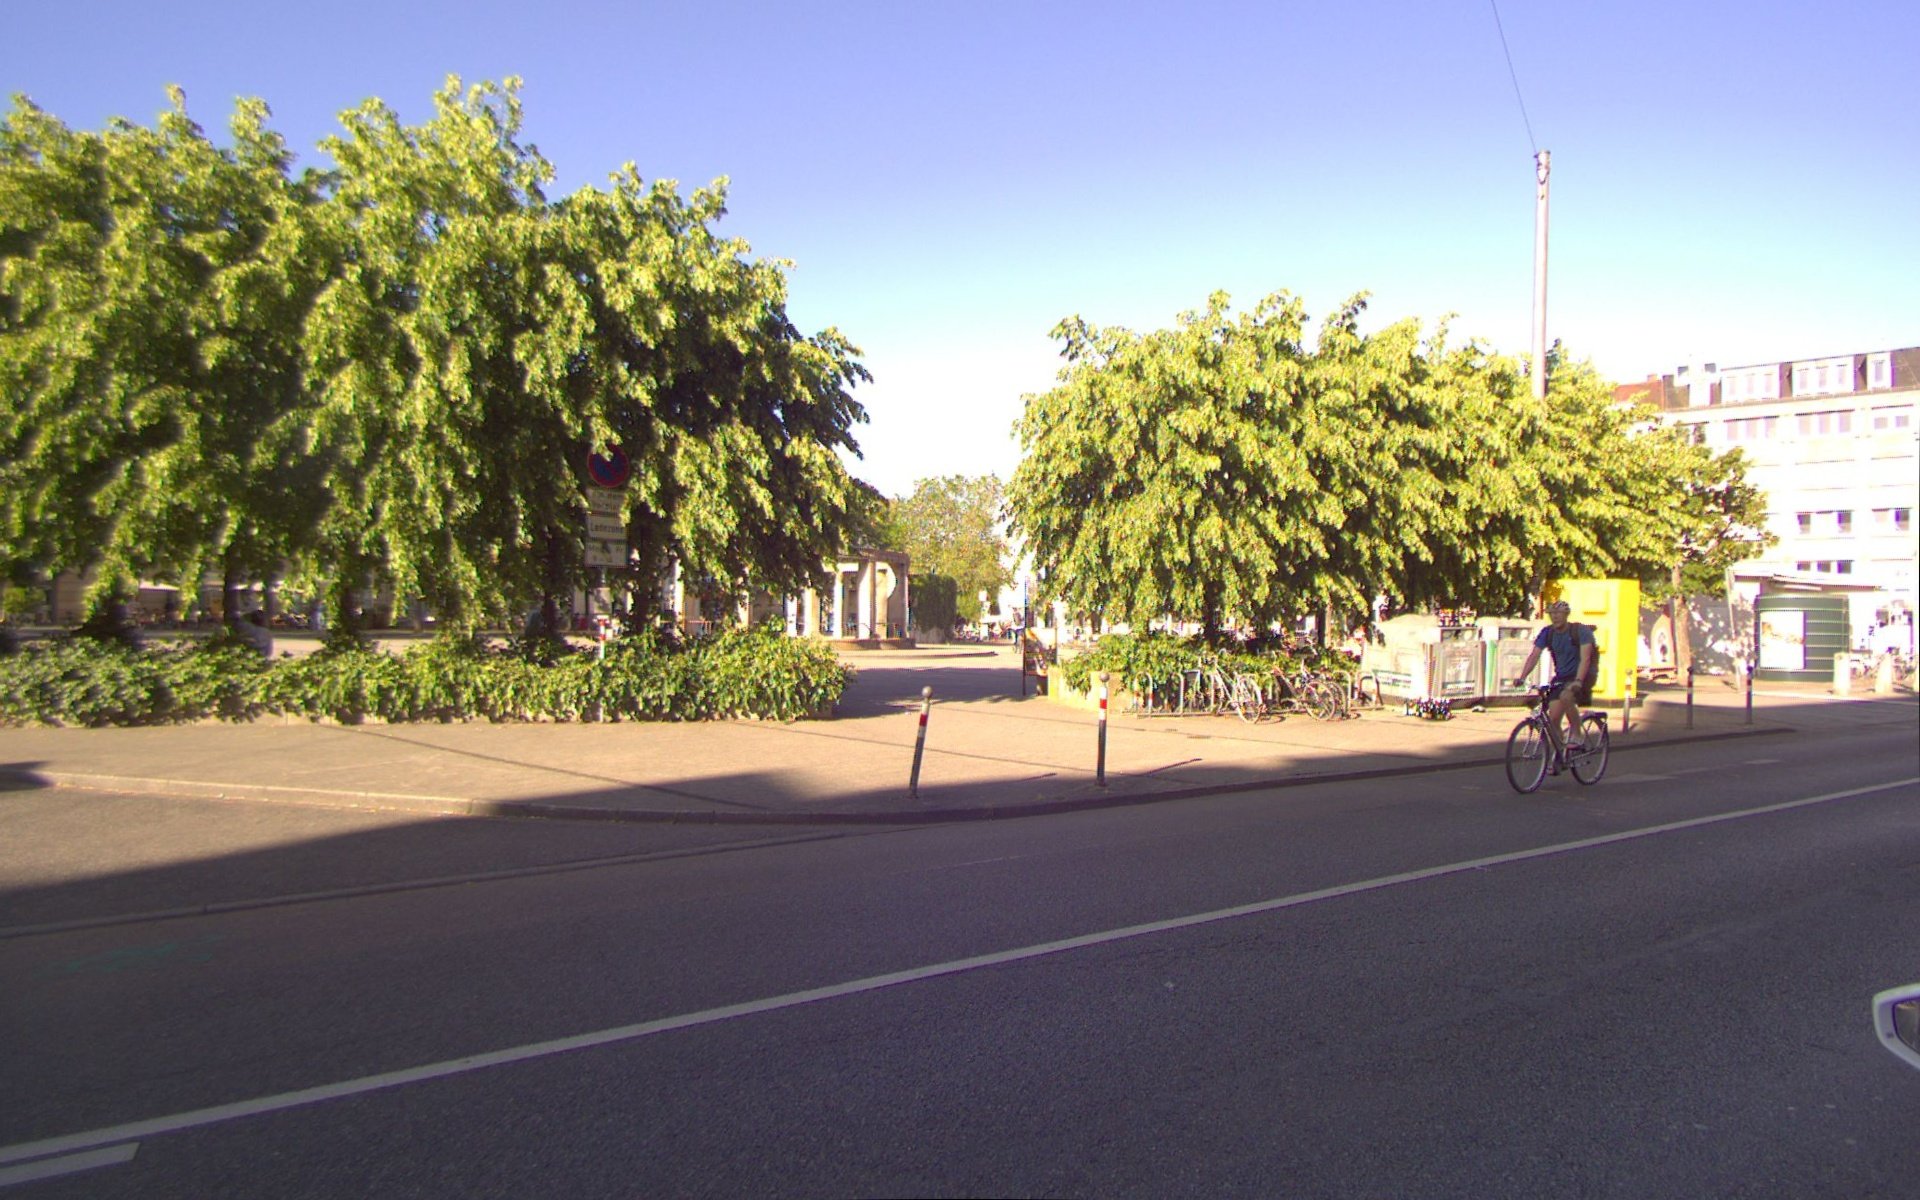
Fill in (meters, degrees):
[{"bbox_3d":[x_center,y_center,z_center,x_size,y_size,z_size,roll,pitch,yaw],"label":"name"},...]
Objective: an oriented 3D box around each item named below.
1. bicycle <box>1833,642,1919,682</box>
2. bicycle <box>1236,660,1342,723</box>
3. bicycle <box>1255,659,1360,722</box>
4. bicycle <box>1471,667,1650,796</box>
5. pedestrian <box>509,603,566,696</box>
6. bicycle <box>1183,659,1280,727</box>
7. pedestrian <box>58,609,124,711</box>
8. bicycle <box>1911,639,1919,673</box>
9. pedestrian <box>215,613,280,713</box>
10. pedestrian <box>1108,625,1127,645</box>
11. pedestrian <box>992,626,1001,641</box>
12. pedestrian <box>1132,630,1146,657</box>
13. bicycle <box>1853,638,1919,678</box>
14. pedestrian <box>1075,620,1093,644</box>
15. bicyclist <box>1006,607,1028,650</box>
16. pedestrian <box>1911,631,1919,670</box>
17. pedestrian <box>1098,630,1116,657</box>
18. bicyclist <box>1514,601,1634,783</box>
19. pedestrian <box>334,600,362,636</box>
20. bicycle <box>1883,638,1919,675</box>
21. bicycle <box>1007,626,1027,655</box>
[{"bbox_3d":[31.218,2.067,33.768,0.932,1.211,2.645,2,0,-32],"label":"bicycle"},{"bbox_3d":[5.272,1.448,16.189,0.465,0.870,1.659,2,0,-35],"label":"bicycle"},{"bbox_3d":[5.670,1.459,16.485,0.465,0.870,1.654,2,0,-35],"label":"bicycle"},{"bbox_3d":[6.025,1.272,10.057,1.933,1.177,0.614,2,-3,-28],"label":"bicycle"},{"bbox_3d":[-7.285,0.834,17.317,0.688,1.541,0.676,2,0,-41],"label":"pedestrian"},{"bbox_3d":[4.172,1.416,15.531,0.464,0.897,1.558,2,0,-29],"label":"bicycle"},{"bbox_3d":[-12.862,0.877,14.888,0.615,1.456,0.647,2,0,-32],"label":"pedestrian"},{"bbox_3d":[37.243,2.158,37.281,0.932,1.276,2.648,2,0,-32],"label":"bicycle"},{"bbox_3d":[-10.854,0.940,15.305,0.581,1.456,0.615,2,0,33],"label":"pedestrian"},{"bbox_3d":[9.839,2.198,62.742,0.886,1.230,0.864,2,0,-17],"label":"pedestrian"},{"bbox_3d":[3.780,3.474,104.555,0.744,1.557,0.673,2,0,-12],"label":"pedestrian"},{"bbox_3d":[10.509,2.528,58.968,0.761,1.541,0.838,2,0,6],"label":"pedestrian"},{"bbox_3d":[33.140,2.043,35.070,0.923,1.291,2.764,2,0,-32],"label":"bicycle"},{"bbox_3d":[9.812,2.527,79.666,1.274,1.867,1.102,2,0,3],"label":"pedestrian"},{"bbox_3d":[2.352,1.149,41.318,0.773,1.722,0.895,2,0,-3],"label":"bicyclist"},{"bbox_3d":[44.268,2.323,46.087,0.702,1.783,0.836,2,0,-43],"label":"pedestrian"},{"bbox_3d":[8.733,2.560,59.625,0.904,1.541,0.936,2,0,15],"label":"pedestrian"},{"bbox_3d":[6.135,0.893,10.053,0.799,1.732,0.698,2,-1,-26],"label":"bicyclist"},{"bbox_3d":[-27.027,0.792,44.367,0.680,1.550,0.741,2,0,4],"label":"pedestrian"},{"bbox_3d":[35.259,2.087,36.137,0.932,1.287,2.859,2,0,-32],"label":"bicycle"},{"bbox_3d":[2.326,1.654,41.470,0.593,1.116,1.989,2,0,-3],"label":"bicycle"}]
